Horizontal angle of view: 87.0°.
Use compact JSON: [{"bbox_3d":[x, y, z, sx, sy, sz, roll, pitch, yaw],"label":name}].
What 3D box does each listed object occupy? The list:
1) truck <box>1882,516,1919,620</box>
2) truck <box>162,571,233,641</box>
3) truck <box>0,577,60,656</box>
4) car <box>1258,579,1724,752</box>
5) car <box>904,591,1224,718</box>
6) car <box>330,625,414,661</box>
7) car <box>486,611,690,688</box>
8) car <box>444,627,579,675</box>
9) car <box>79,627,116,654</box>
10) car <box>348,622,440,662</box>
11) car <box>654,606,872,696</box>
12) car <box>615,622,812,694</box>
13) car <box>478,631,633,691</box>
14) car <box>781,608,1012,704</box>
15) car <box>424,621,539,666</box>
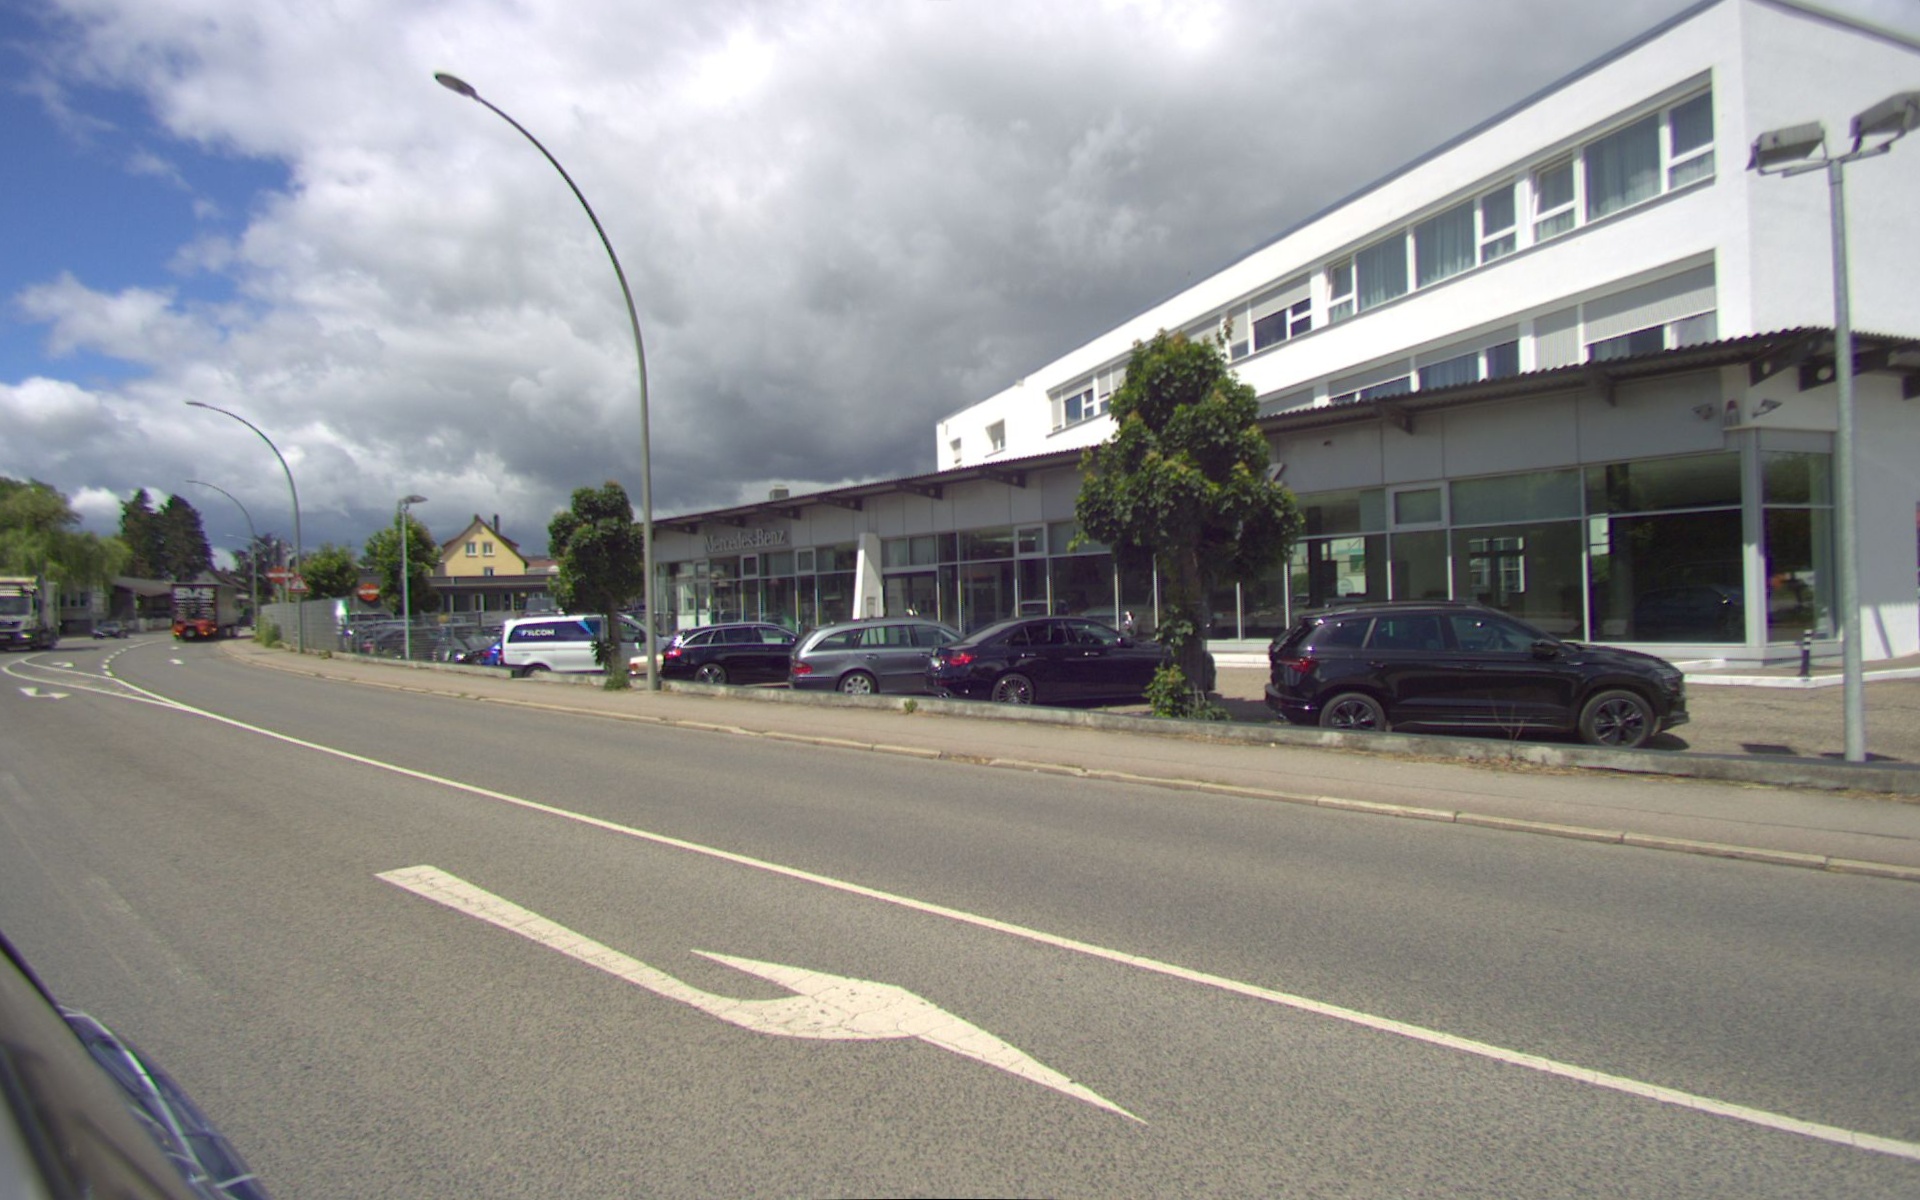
[{"bbox_3d":[33.926,-1.114,31.197,2.405,3.449,7.845,-1,0,-19],"label":"truck"},{"bbox_3d":[-53.740,0.422,71.525,2.932,4.696,8.204,-1,0,-30],"label":"truck"},{"bbox_3d":[-49.718,0.867,53.025,2.859,3.796,9.657,-1,0,-36],"label":"truck"},{"bbox_3d":[5.729,0.714,11.511,4.309,1.637,1.797,-3,3,14],"label":"car"},{"bbox_3d":[1.589,0.796,16.110,4.558,1.637,2.068,-2,0,-15],"label":"car"},{"bbox_3d":[-27.737,2.006,47.751,3.215,1.586,1.585,0,-1,-40],"label":"car"},{"bbox_3d":[-9.750,1.269,26.888,4.876,1.852,1.897,-1,-1,-13],"label":"car"},{"bbox_3d":[-14.639,1.653,33.275,3.887,1.303,1.810,-2,0,-19],"label":"car"},{"bbox_3d":[-68.971,3.225,81.009,1.923,2.029,4.009,-1,-1,-36],"label":"car"},{"bbox_3d":[-24.075,1.739,43.073,3.215,1.586,1.585,0,-1,-40],"label":"car"},{"bbox_3d":[-4.310,1.065,22.076,4.432,1.637,1.809,-2,-1,-16],"label":"car"},{"bbox_3d":[-5.936,1.350,24.463,4.390,1.339,1.898,-4,0,-16],"label":"car"},{"bbox_3d":[-11.452,1.705,28.925,3.888,1.437,1.809,-2,0,-14],"label":"car"},{"bbox_3d":[-1.188,0.945,17.969,3.891,1.505,1.808,-1,-1,-9],"label":"car"},{"bbox_3d":[-18.314,1.637,38.827,3.610,1.474,1.660,-2,-1,-43],"label":"car"}]
